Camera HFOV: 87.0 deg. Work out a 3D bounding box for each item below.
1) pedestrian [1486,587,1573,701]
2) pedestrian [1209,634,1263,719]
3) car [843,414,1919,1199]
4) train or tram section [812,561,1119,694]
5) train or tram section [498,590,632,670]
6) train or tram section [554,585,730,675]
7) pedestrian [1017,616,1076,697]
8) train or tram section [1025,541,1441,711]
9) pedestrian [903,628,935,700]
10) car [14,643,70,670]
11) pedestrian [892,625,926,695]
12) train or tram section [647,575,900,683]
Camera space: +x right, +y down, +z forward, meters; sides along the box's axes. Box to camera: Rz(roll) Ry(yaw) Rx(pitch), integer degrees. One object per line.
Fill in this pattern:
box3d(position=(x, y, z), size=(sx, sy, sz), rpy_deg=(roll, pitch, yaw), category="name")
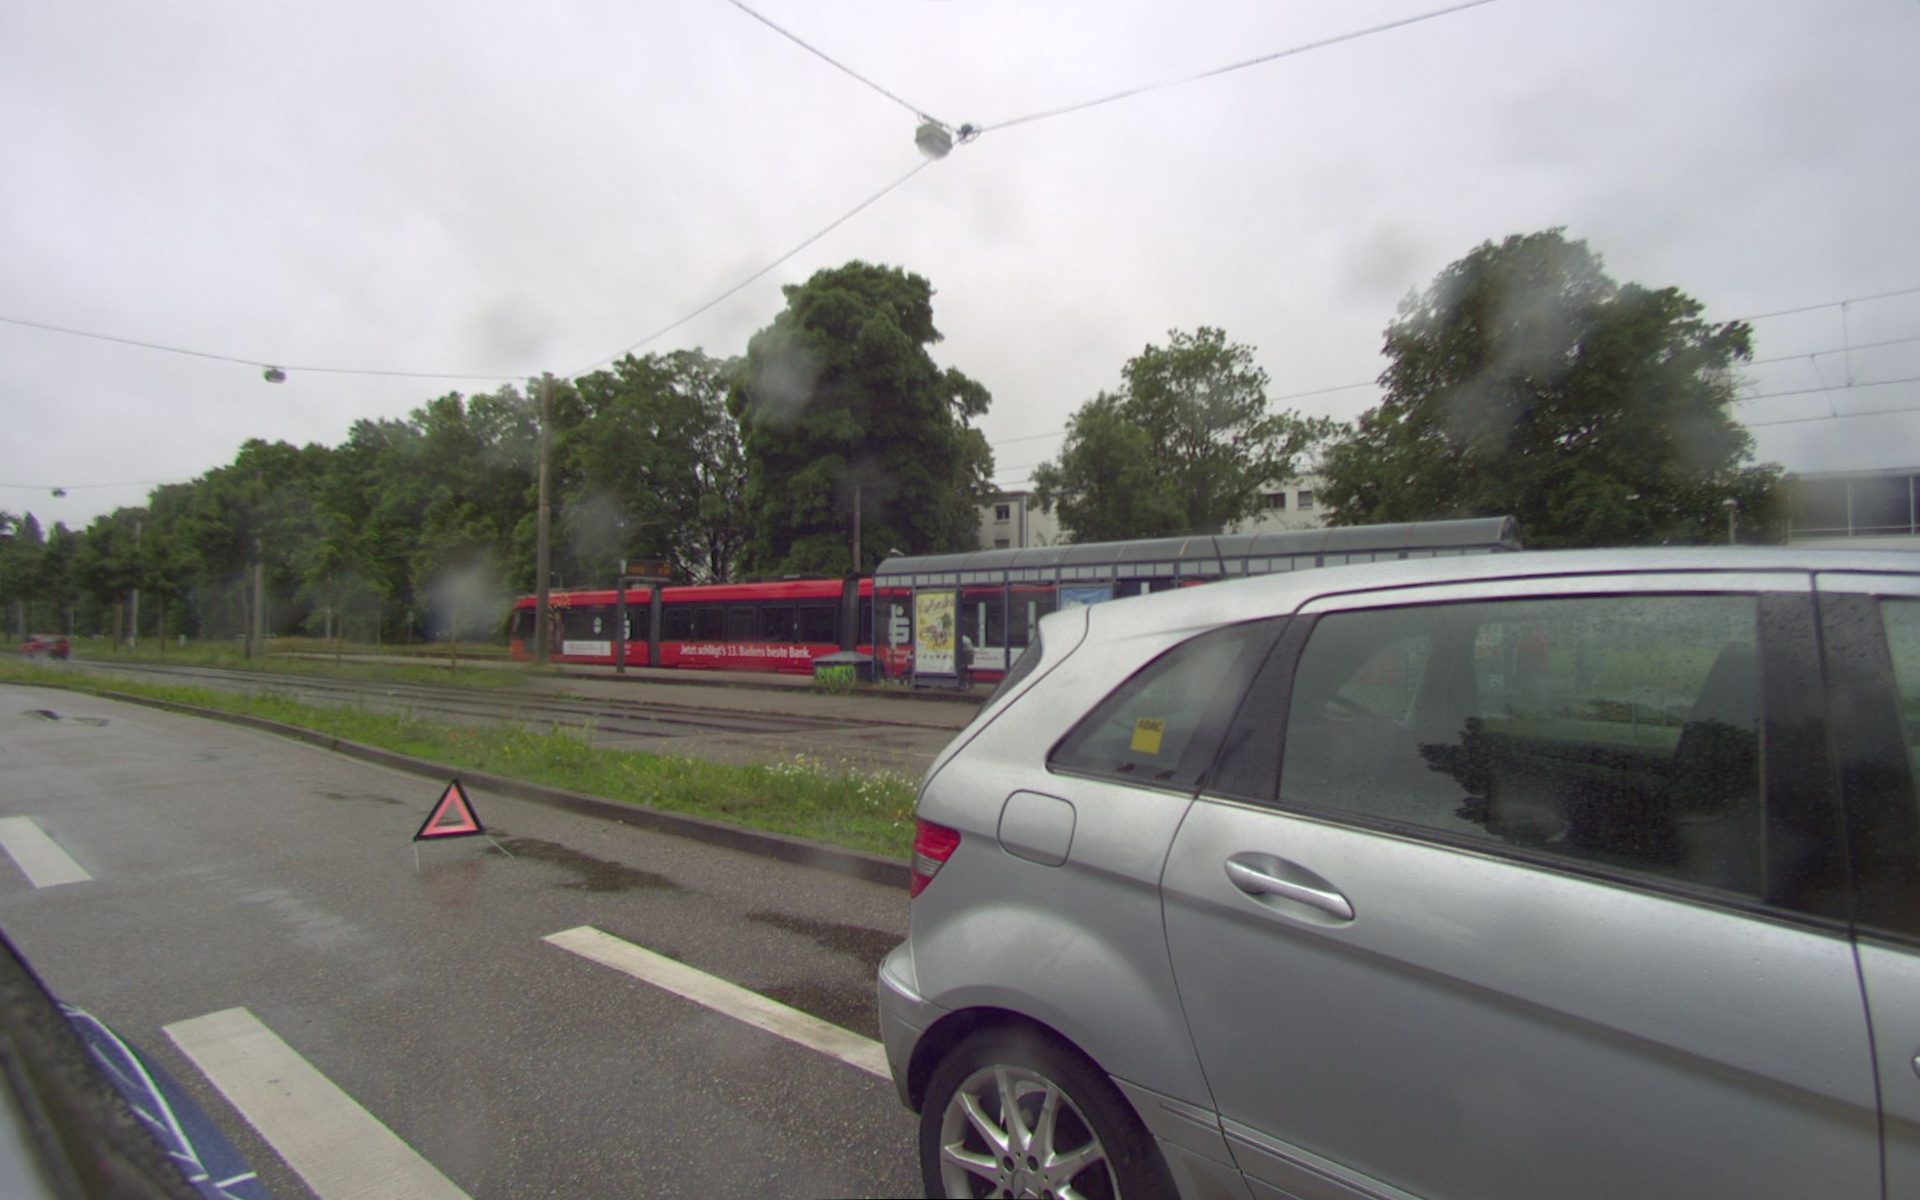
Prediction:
box3d(position=(8.803, 0.653, 15.642), size=(0.996, 1.688, 0.914), rpy_deg=(-1, -1, 42), category="pedestrian")
box3d(position=(4.855, 1.327, 17.800), size=(0.699, 1.464, 0.618), rpy_deg=(-2, -3, 43), category="pedestrian")
box3d(position=(1.807, 0.582, 1.603), size=(4.010, 1.556, 1.718), rpy_deg=(-2, -2, 41), category="car")
box3d(position=(-0.108, 0.865, 30.482), size=(9.275, 3.416, 3.495), rpy_deg=(-2, -3, 42), category="train or tram section")
box3d(position=(-18.294, 1.414, 46.776), size=(5.767, 3.444, 3.495), rpy_deg=(-2, -3, 42), category="train or tram section")
box3d(position=(-13.425, 1.270, 42.394), size=(7.899, 3.438, 3.495), rpy_deg=(-2, -3, 42), category="train or tram section")
box3d(position=(1.764, 1.140, 20.658), size=(0.929, 1.609, 0.795), rpy_deg=(-2, -3, 44), category="pedestrian")
box3d(position=(6.287, 0.665, 24.757), size=(9.276, 3.416, 3.495), rpy_deg=(-2, -3, 42), category="train or tram section")
box3d(position=(-0.926, 1.419, 22.791), size=(0.437, 1.574, 0.603), rpy_deg=(0, -1, -35), category="pedestrian")
box3d(position=(-51.120, 3.131, 56.346), size=(4.247, 1.371, 1.663), rpy_deg=(-2, -5, 39), category="car")
box3d(position=(-1.188, 1.385, 23.506), size=(0.514, 1.574, 0.603), rpy_deg=(0, -1, -35), category="pedestrian")
box3d(position=(-7.011, 1.076, 36.686), size=(10.257, 3.427, 3.495), rpy_deg=(-2, -3, 42), category="train or tram section")
